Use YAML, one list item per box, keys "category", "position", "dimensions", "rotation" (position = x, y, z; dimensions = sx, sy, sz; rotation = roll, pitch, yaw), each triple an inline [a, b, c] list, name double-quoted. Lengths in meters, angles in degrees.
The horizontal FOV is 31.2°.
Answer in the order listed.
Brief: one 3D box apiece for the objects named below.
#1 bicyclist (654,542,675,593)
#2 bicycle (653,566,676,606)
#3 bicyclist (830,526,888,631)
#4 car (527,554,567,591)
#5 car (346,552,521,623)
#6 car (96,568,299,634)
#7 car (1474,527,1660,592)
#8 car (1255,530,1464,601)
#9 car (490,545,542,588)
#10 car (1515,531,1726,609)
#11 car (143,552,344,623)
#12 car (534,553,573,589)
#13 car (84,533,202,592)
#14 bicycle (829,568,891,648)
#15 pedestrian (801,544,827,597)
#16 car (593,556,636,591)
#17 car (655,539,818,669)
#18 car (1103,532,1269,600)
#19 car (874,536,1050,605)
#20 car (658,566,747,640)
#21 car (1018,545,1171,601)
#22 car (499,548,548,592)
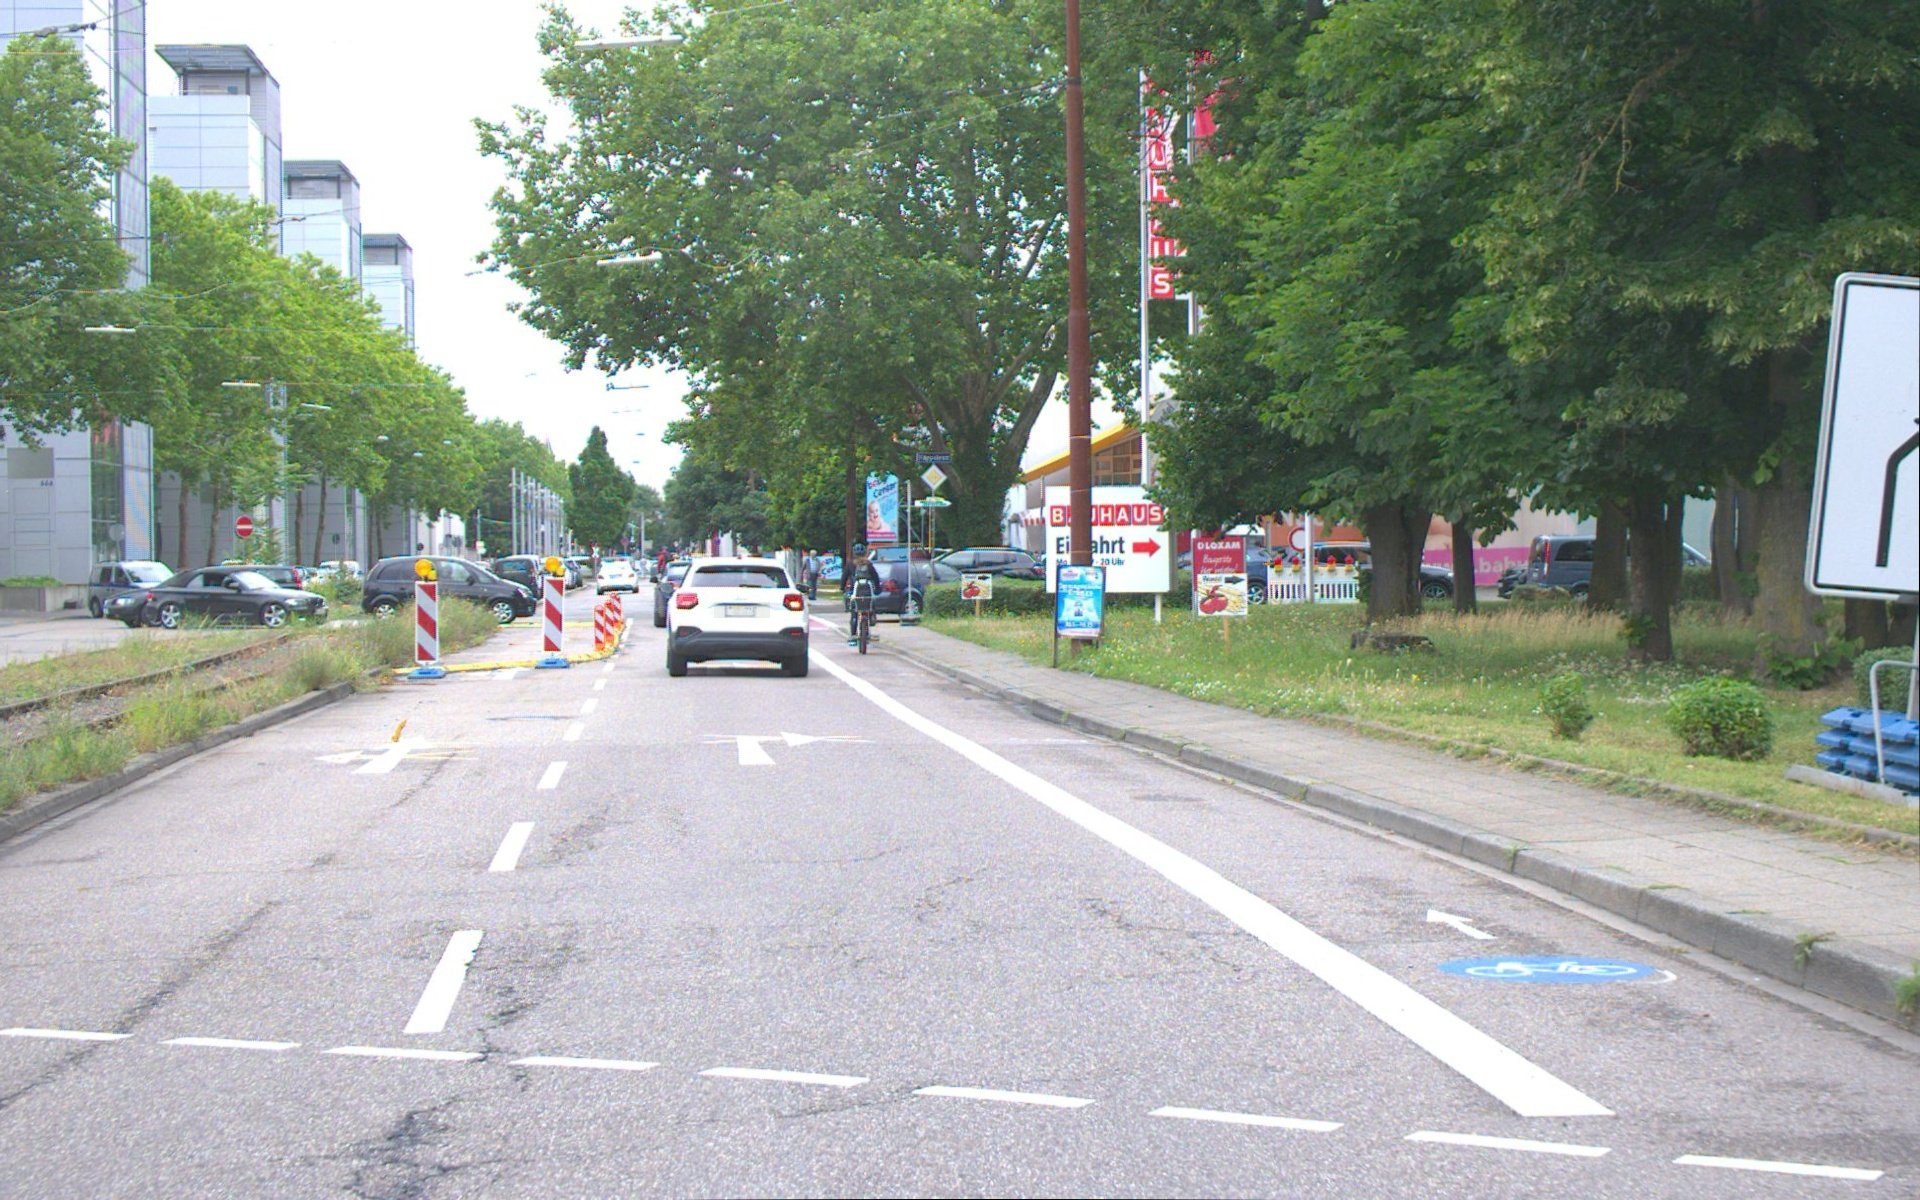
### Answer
- category: "bicyclist"
  position: [-10.497, -1.149, 122.139]
  dimensions: [0.670, 1.809, 0.760]
  rotation: [1, 1, -8]
- category: "bicycle"
  position: [-10.497, -0.493, 122.093]
  dimensions: [0.670, 1.389, 2.167]
  rotation: [1, 1, -8]
- category: "bicyclist"
  position: [-1.598, -0.344, 54.182]
  dimensions: [0.816, 1.624, 1.235]
  rotation: [-1, 1, -5]
- category: "car"
  position: [-20.216, -1.378, 168.356]
  dimensions: [1.876, 1.757, 4.001]
  rotation: [-1, 1, -6]
- category: "car"
  position: [-12.180, -0.298, 79.732]
  dimensions: [3.882, 1.550, 1.826]
  rotation: [1, 0, -5]
- category: "car"
  position: [-18.175, 0.008, 82.005]
  dimensions: [4.411, 1.467, 1.826]
  rotation: [-1, 1, -25]
- category: "car"
  position: [16.138, -1.072, 91.572]
  dimensions: [4.553, 1.671, 2.081]
  rotation: [-1, 1, -1]
- category: "car"
  position: [9.381, -0.816, 80.965]
  dimensions: [4.552, 1.566, 1.993]
  rotation: [-1, 1, -5]
- category: "car"
  position: [-17.330, -1.309, 134.251]
  dimensions: [1.876, 1.627, 4.001]
  rotation: [-1, 1, -6]
- category: "car"
  position: [15.742, -0.730, 82.086]
  dimensions: [4.552, 1.784, 2.074]
  rotation: [-1, 2, -5]
- category: "car"
  position: [-16.411, -0.265, 78.745]
  dimensions: [4.120, 1.470, 1.824]
  rotation: [-2, -1, 18]
- category: "car"
  position: [-20.491, -1.469, 173.565]
  dimensions: [1.876, 1.757, 4.001]
  rotation: [-1, 1, -6]
- category: "car"
  position: [-25.543, -1.174, 107.403]
  dimensions: [1.820, 1.777, 4.425]
  rotation: [-1, 1, -39]
- category: "bicycle"
  position: [-1.589, 0.108, 54.190]
  dimensions: [0.816, 1.208, 2.684]
  rotation: [-1, 1, -5]
- category: "pedestrian"
  position: [-4.814, -0.973, 113.210]
  dimensions: [0.760, 1.699, 0.682]
  rotation: [-1, 1, -10]
- category: "car"
  position: [-15.510, -1.207, 154.174]
  dimensions: [1.795, 1.508, 3.707]
  rotation: [1, 1, -8]
- category: "car"
  position: [-2.952, 0.021, 44.765]
  dimensions: [1.823, 1.595, 3.777]
  rotation: [1, 1, -8]
- category: "car"
  position: [5.819, -0.881, 88.958]
  dimensions: [4.213, 1.671, 1.992]
  rotation: [-1, 1, 3]
- category: "car"
  position: [0.028, -0.747, 87.813]
  dimensions: [4.313, 1.671, 1.993]
  rotation: [-1, 1, -4]
- category: "car"
  position: [-5.624, 0.053, 74.761]
  dimensions: [1.684, 1.508, 3.707]
  rotation: [1, 1, -8]
- category: "car"
  position: [3.925, -0.790, 100.547]
  dimensions: [4.212, 1.546, 1.790]
  rotation: [-1, 1, -7]
- category: "car"
  position: [-17.772, -1.228, 140.053]
  dimensions: [1.876, 1.757, 4.001]
  rotation: [-1, 1, -6]
